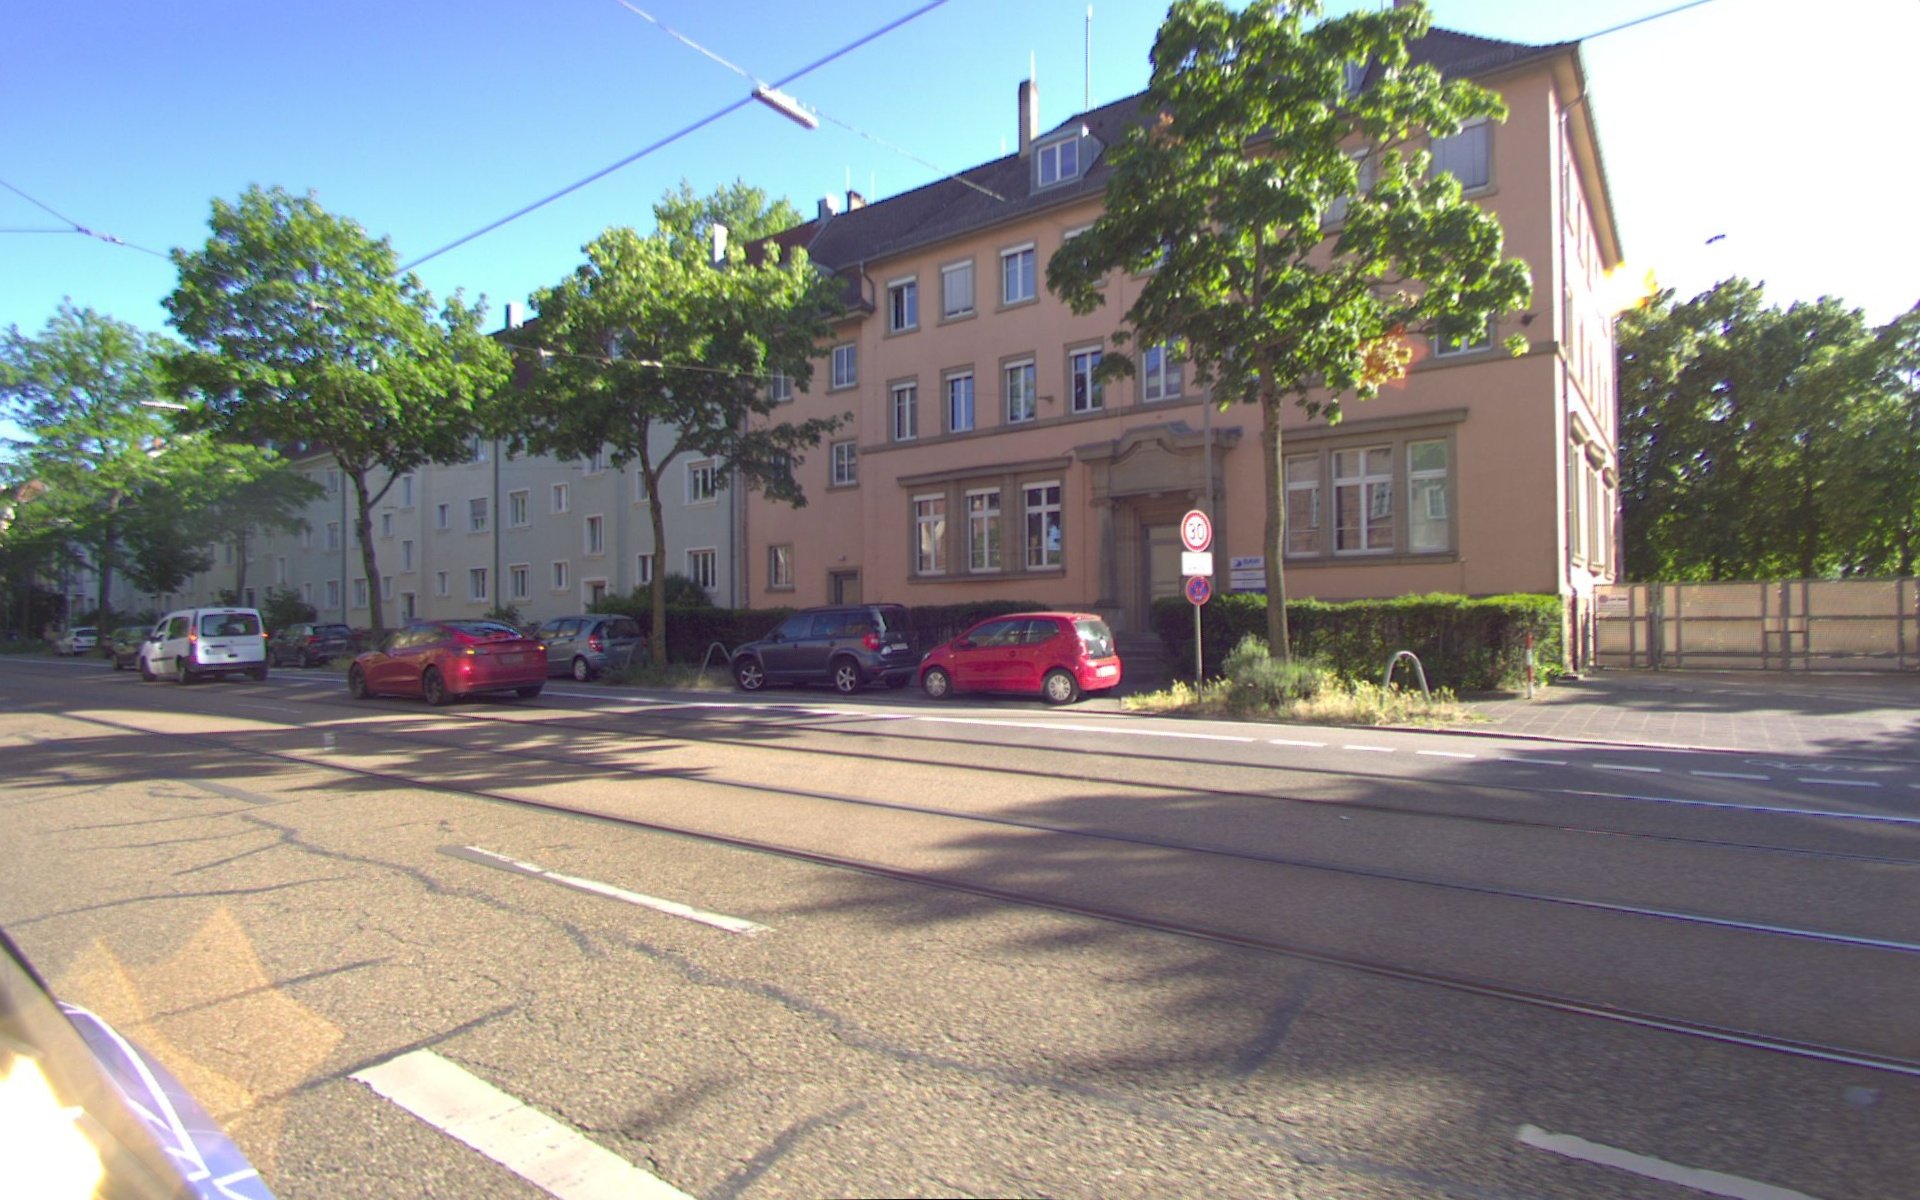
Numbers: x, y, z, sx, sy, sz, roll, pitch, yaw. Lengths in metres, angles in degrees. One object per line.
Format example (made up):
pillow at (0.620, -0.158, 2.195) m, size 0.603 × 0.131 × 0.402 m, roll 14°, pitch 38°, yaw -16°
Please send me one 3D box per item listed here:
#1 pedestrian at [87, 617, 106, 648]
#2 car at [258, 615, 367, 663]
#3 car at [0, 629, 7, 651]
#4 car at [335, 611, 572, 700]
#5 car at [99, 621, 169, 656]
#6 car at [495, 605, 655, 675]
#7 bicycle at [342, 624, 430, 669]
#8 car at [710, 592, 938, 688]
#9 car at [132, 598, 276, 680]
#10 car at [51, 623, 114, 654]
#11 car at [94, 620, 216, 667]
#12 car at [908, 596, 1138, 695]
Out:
pedestrian at (-51.118, 1.938, 59.899) m, size 0.812 × 1.815 × 0.685 m, roll -2°, pitch -2°, yaw 37°
car at (-22.765, 1.348, 35.526) m, size 4.315 × 1.501 × 1.730 m, roll -2°, pitch 1°, yaw 36°
car at (-67.035, 2.784, 69.394) m, size 4.199 × 1.496 × 1.800 m, roll -2°, pitch 0°, yaw 37°
car at (-9.213, 0.943, 18.263) m, size 4.677 × 1.397 × 1.904 m, roll -2°, pitch -1°, yaw 36°
car at (-39.168, 1.805, 47.971) m, size 3.752 × 1.496 × 1.672 m, roll -2°, pitch 1°, yaw 36°
car at (-9.727, 0.987, 25.478) m, size 4.059 × 1.581 × 1.731 m, roll -2°, pitch 1°, yaw 35°
bicycle at (-17.573, 1.403, 31.028) m, size 0.559 × 1.207 × 2.259 m, roll -3°, pitch 0°, yaw 44°
car at (-2.745, 0.768, 20.028) m, size 4.377 × 1.673 × 1.732 m, roll -2°, pitch 1°, yaw 33°
car at (-19.170, 0.955, 25.605) m, size 4.433 × 1.903 × 1.793 m, roll -2°, pitch -1°, yaw 37°
car at (-46.670, 2.031, 53.792) m, size 4.072 × 1.496 × 1.687 m, roll -2°, pitch 1°, yaw 37°
car at (-25.889, 1.373, 32.527) m, size 4.427 × 1.397 × 1.795 m, roll -2°, pitch -1°, yaw 33°
car at (1.048, 0.752, 17.353) m, size 3.602 × 1.499 × 1.569 m, roll -2°, pitch 1°, yaw 33°
